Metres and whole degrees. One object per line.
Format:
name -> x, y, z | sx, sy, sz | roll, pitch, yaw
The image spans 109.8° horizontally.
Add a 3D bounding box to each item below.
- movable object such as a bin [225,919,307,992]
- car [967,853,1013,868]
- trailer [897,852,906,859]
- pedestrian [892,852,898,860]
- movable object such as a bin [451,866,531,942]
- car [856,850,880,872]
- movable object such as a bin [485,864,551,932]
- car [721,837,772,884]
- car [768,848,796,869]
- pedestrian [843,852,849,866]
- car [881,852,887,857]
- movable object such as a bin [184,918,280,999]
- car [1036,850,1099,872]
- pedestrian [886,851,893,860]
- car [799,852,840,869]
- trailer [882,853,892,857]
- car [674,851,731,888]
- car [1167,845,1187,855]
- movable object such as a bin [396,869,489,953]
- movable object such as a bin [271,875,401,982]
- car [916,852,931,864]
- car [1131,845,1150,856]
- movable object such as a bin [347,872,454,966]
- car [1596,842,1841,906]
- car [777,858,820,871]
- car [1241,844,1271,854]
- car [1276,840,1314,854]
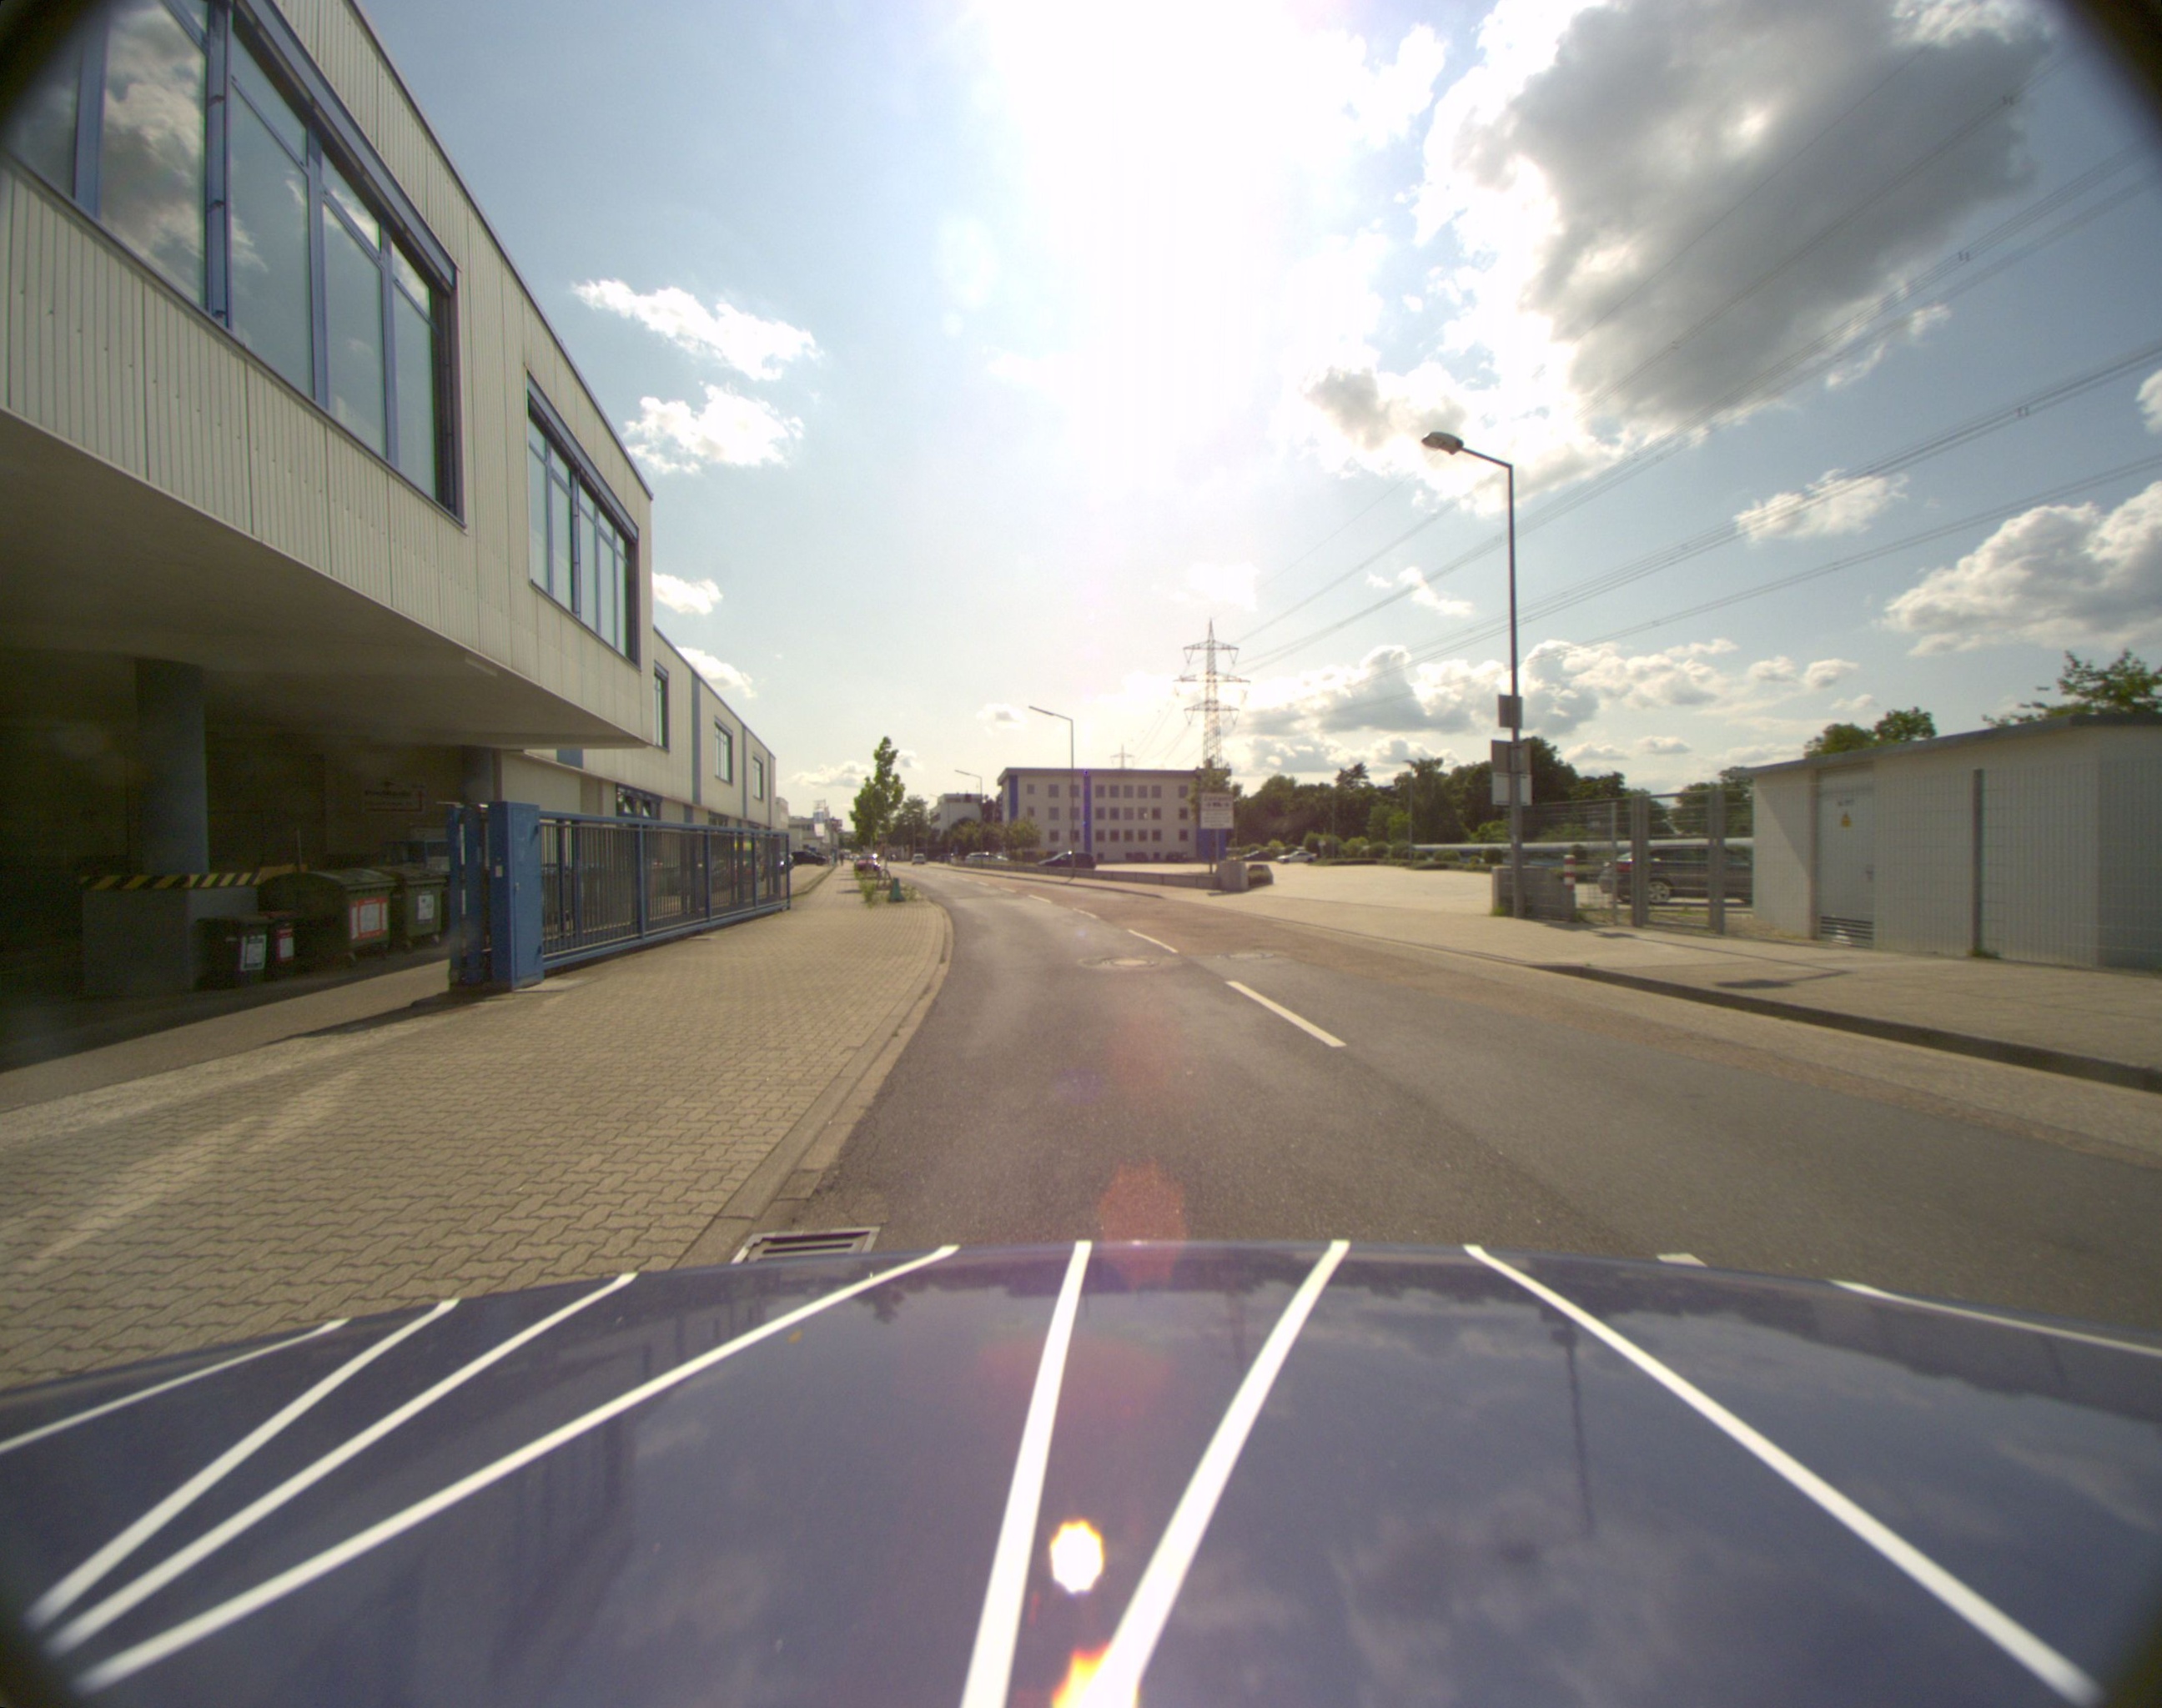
movable object such as a bin -> -11.098, 1.372, 10.362 | 0.600, 0.905, 0.417 | -2, 2, -19
car -> -10.231, 0.717, 85.371 | 4.773, 1.593, 1.997 | -2, 1, -16
trailer -> -40.961, 0.318, 173.472 | 1.773, 1.431, 4.328 | -4, 2, -17
pedestrian -> -39.573, 0.375, 161.775 | 0.861, 1.797, 1.002 | -1, 2, -39
movable object such as a bin -> -12.088, 0.994, 15.628 | 0.807, 1.405, 1.425 | -2, 2, -19
car -> -17.448, 0.529, 62.275 | 1.761, 1.641, 4.670 | -2, 2, -15
movable object such as a bin -> -12.537, 0.954, 16.955 | 0.807, 1.406, 1.172 | -2, 2, -19
car -> -18.973, 0.281, 43.268 | 1.931, 2.450, 5.251 | -2, 2, -16
car -> -25.787, 0.337, 65.707 | 1.834, 1.504, 4.631 | -1, 3, -16
pedestrian -> -29.411, 0.645, 95.140 | 0.772, 1.746, 0.785 | 1, 1, -17
car -> -64.218, 0.027, 247.519 | 1.717, 1.459, 4.621 | -4, 2, -18
movable object such as a bin -> -11.007, 1.337, 9.870 | 0.590, 0.938, 0.543 | -2, 2, -19
car -> -0.970, 0.456, 52.626 | 4.003, 1.368, 1.801 | -1, 1, -17
pedestrian -> -40.627, 0.349, 160.901 | 0.994, 1.940, 1.088 | -1, 2, -39
car -> -27.685, 0.674, 80.575 | 4.100, 1.676, 1.997 | -1, 1, -18
trailer -> -58.667, 0.317, 229.429 | 2.460, 1.158, 6.042 | -3, 2, -18
car -> -16.266, 0.618, 32.768 | 1.502, 1.395, 3.848 | -2, 2, -16
car -> 12.836, -0.563, 101.748 | 1.568, 1.368, 3.675 | -1, 1, -13
movable object such as a bin -> -11.826, 1.012, 14.127 | 0.807, 1.405, 1.403 | -2, 2, -19
movable object such as a bin -> -11.065, 1.061, 11.350 | 0.807, 1.405, 1.355 | -2, 2, -19
car -> -25.097, 0.660, 120.868 | 1.875, 1.699, 4.745 | -2, 2, -17
car -> 7.939, -0.490, 101.545 | 1.568, 1.368, 3.676 | -1, 1, -13
movable object such as a bin -> -11.361, 1.040, 12.749 | 0.807, 1.405, 1.355 | -2, 2, -19
car -> 14.617, 0.440, 17.699 | 3.991, 1.370, 1.806 | 0, 1, 18
car -> -31.587, 1.166, 85.120 | 4.296, 1.412, 1.997 | 0, 1, -16
car -> 24.183, -0.717, 104.962 | 3.609, 1.244, 1.802 | -1, 1, -8
car -> 24.708, -0.813, 87.759 | 3.824, 1.465, 1.803 | -1, 1, -3
